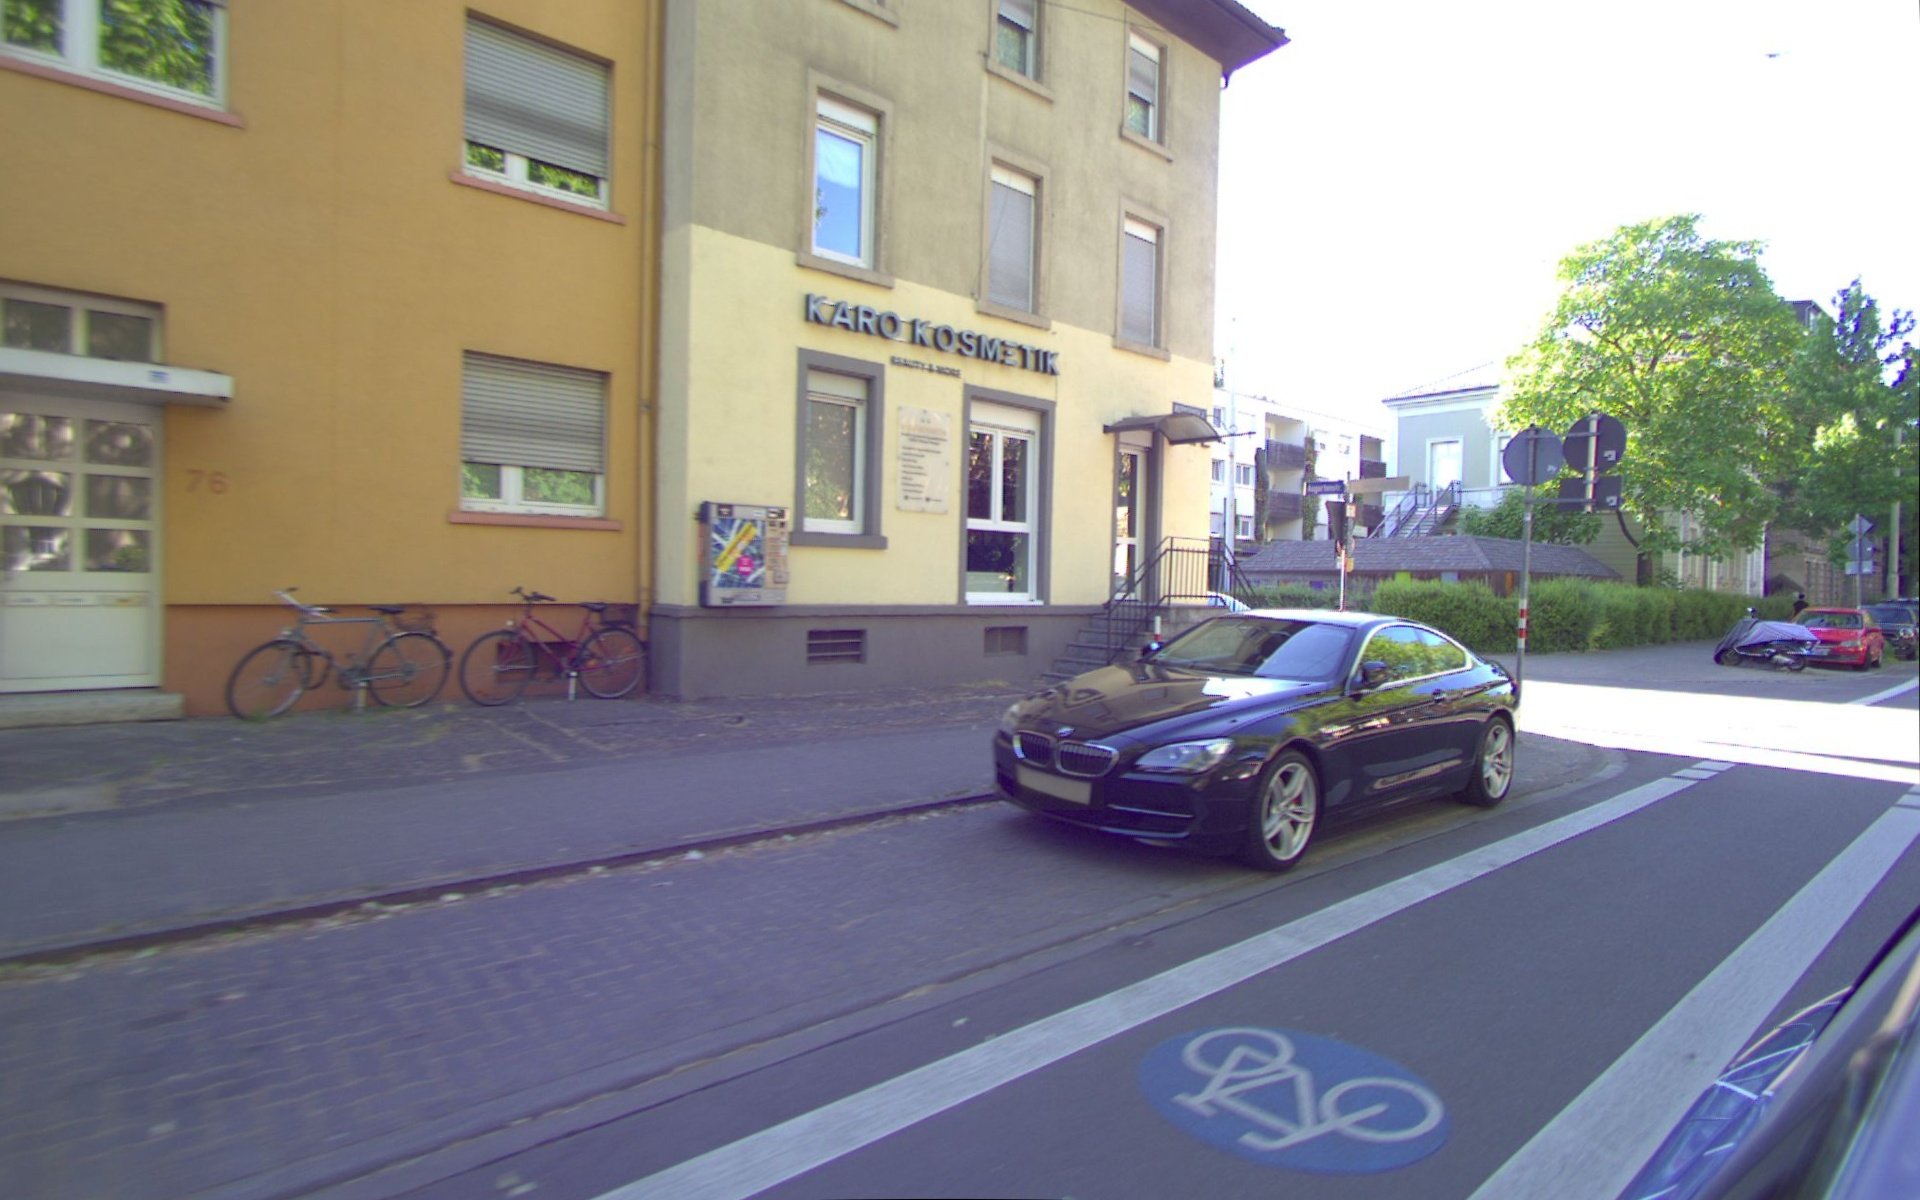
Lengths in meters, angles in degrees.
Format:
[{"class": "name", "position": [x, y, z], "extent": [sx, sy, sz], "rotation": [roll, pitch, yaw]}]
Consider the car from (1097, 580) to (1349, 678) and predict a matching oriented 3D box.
[{"class": "car", "position": [4.878, 0.495, 19.368], "extent": [1.866, 1.660, 4.462], "rotation": [3, -1, -36]}]

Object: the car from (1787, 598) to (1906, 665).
[{"class": "car", "position": [21.317, 0.693, 24.296], "extent": [3.797, 1.397, 1.607], "rotation": [0, 3, -41]}]

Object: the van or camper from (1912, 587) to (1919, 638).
[{"class": "van or camper", "position": [38.884, 0.521, 39.573], "extent": [4.837, 1.906, 1.882], "rotation": [0, 3, -41]}]

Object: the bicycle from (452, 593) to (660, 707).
[{"class": "bicycle", "position": [-3.853, 0.446, 9.767], "extent": [1.826, 1.010, 0.427], "rotation": [0, 0, -41]}]

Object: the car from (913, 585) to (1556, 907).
[{"class": "car", "position": [2.130, 0.667, 6.975], "extent": [4.657, 1.397, 1.998], "rotation": [0, 3, -41]}]

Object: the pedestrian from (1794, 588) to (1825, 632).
[{"class": "pedestrian", "position": [33.139, 0.371, 39.469], "extent": [0.869, 1.699, 0.813], "rotation": [0, 0, -41]}]

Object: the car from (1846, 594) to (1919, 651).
[{"class": "car", "position": [27.837, 0.615, 30.060], "extent": [4.071, 1.505, 1.693], "rotation": [0, 3, -41]}]

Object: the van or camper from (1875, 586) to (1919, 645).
[{"class": "van or camper", "position": [31.885, 0.496, 33.591], "extent": [4.365, 1.804, 1.693], "rotation": [0, 3, -41]}]

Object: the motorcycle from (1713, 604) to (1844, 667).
[{"class": "motorcycle", "position": [18.191, 0.761, 22.533], "extent": [0.812, 1.172, 2.074], "rotation": [0, 4, -36]}]

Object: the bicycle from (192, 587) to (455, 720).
[{"class": "bicycle", "position": [-5.277, 0.406, 8.483], "extent": [1.826, 1.010, 0.427], "rotation": [0, 0, -41]}]
